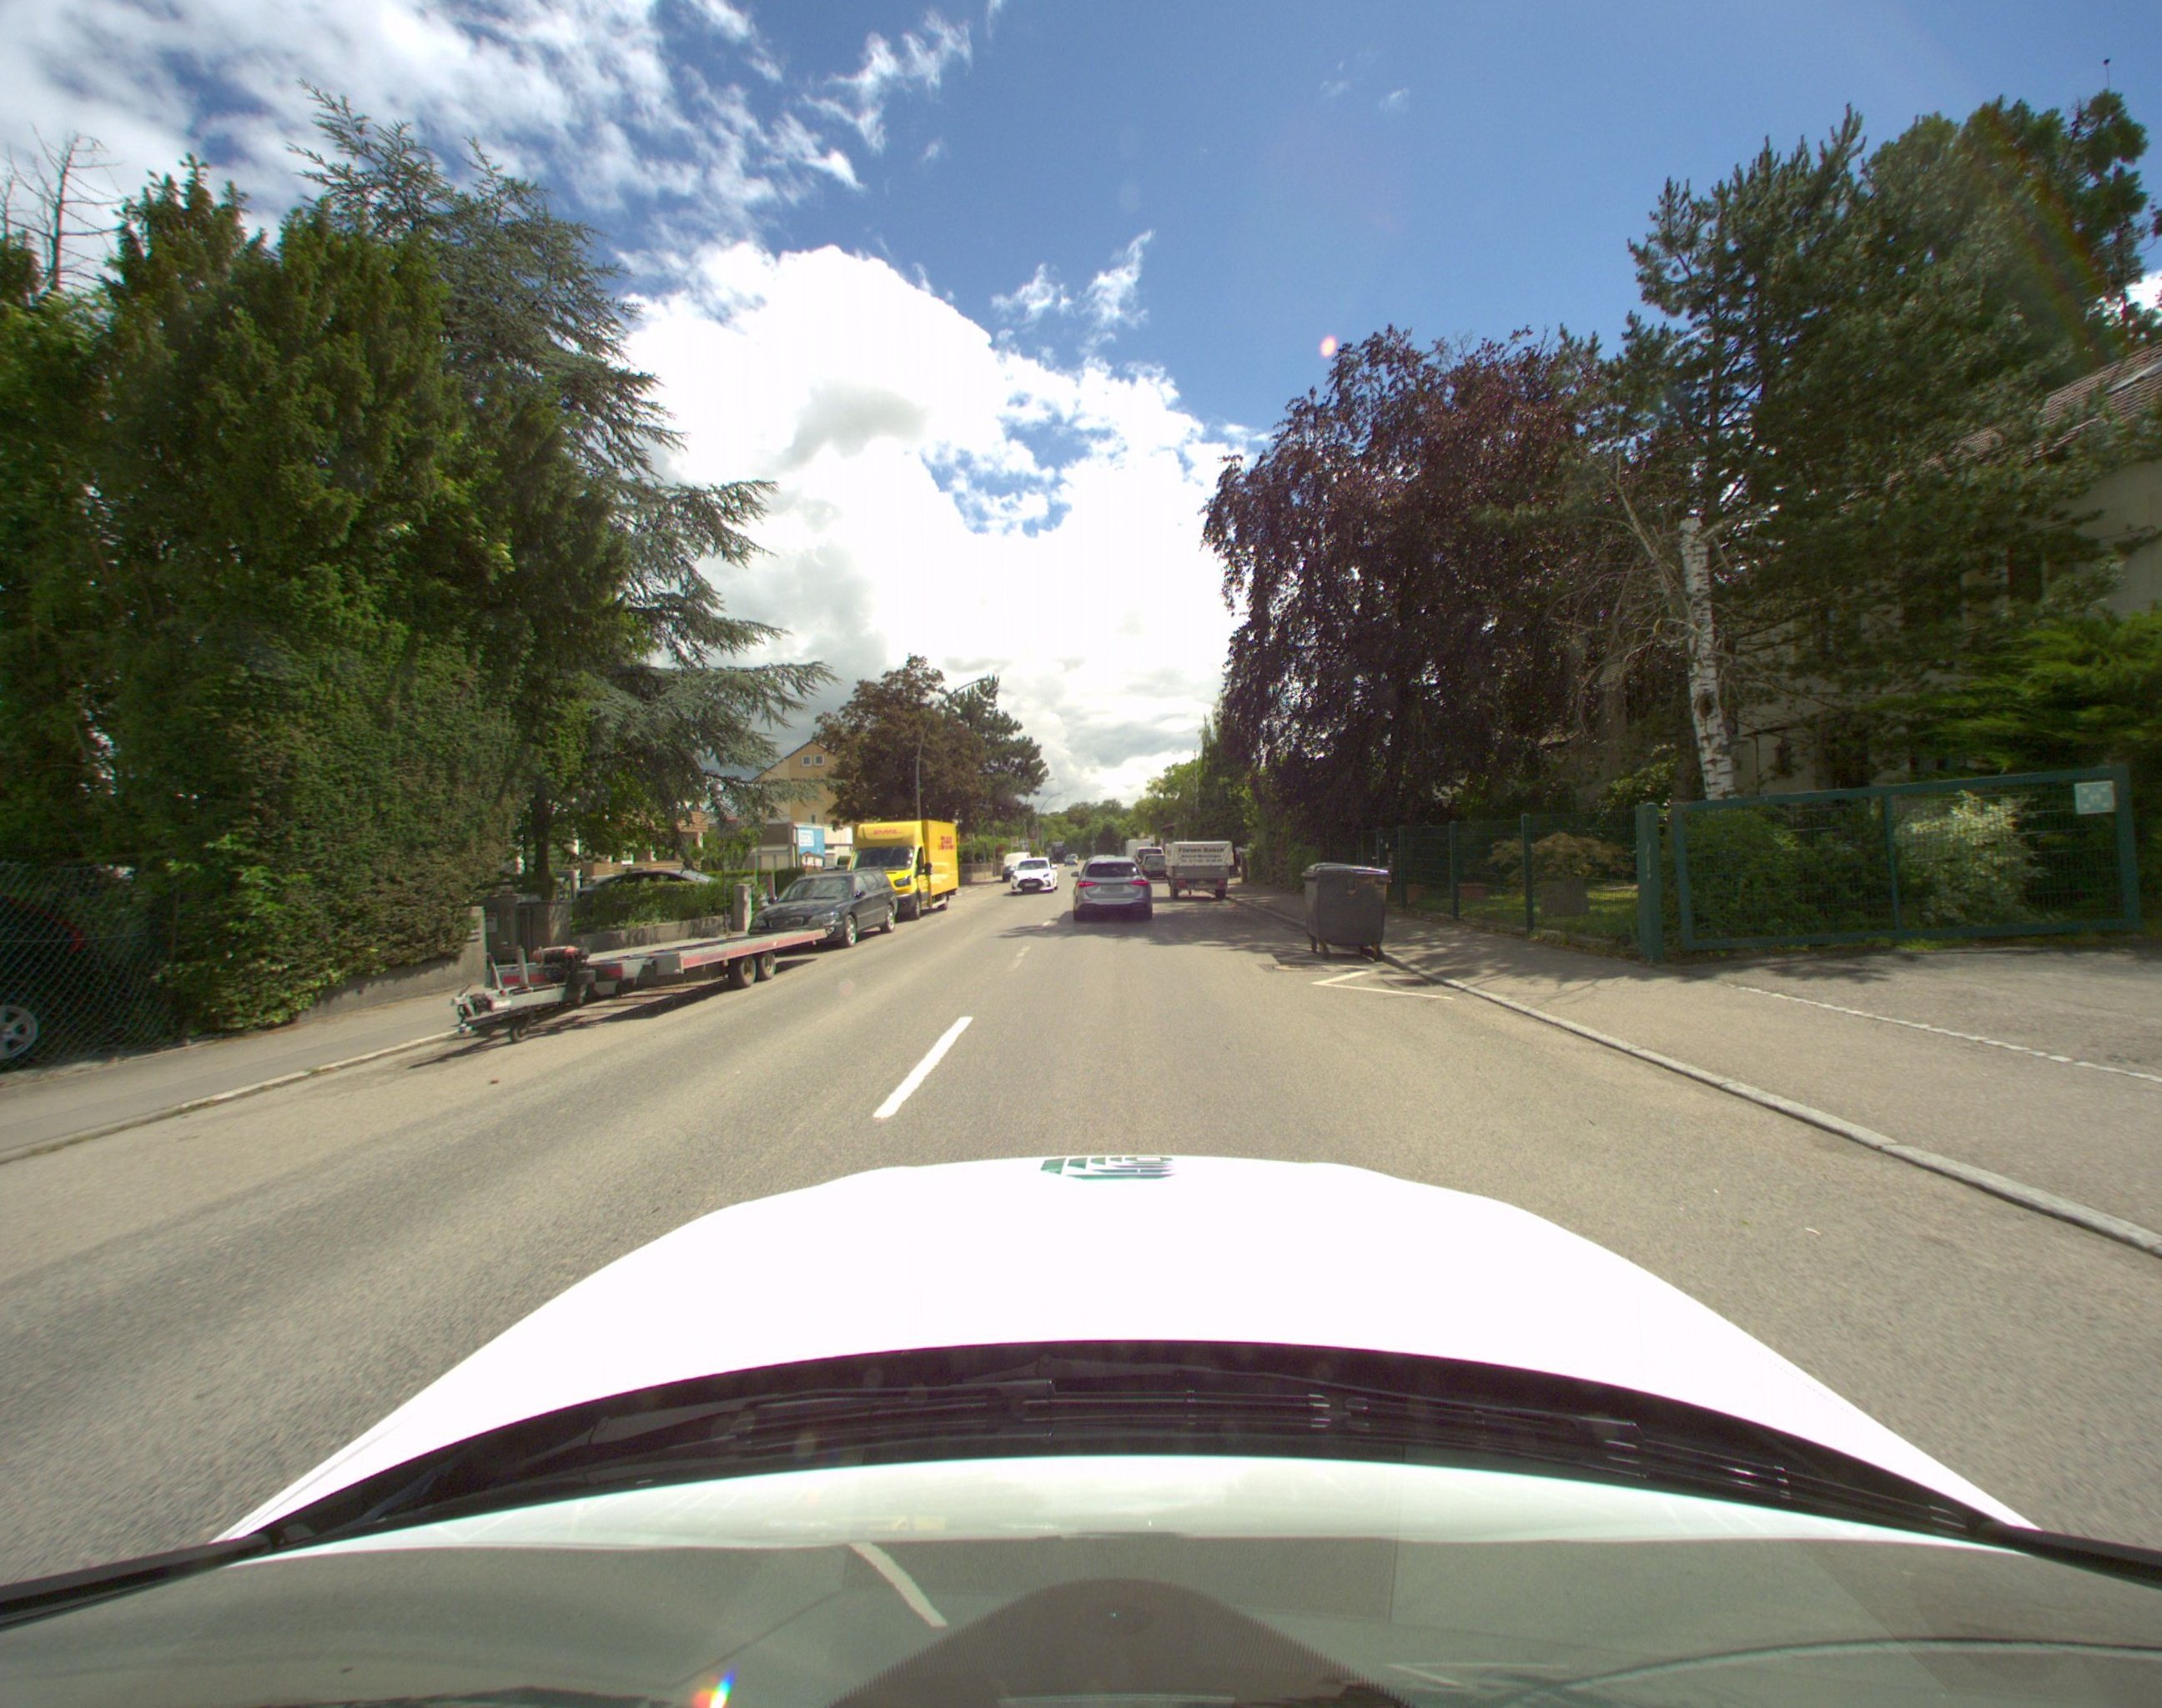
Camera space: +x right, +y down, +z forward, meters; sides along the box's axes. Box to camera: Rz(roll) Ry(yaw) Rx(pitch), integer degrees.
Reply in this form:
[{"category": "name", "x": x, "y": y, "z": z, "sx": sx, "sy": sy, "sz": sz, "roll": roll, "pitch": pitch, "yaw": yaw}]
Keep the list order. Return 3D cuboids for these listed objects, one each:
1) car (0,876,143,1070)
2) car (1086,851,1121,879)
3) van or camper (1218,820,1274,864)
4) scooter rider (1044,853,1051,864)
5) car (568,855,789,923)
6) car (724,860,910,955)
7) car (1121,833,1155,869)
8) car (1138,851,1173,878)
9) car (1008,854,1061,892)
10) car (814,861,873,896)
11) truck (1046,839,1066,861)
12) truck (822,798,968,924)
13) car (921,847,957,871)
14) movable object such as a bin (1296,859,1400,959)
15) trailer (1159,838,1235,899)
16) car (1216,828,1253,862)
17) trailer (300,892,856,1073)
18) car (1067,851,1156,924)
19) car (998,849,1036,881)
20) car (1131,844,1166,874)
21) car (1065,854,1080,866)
[{"category": "car", "x": -10.284, "y": 1.112, "z": 5.730, "sx": 1.801, "sy": 1.635, "sz": 4.634, "roll": -4, "pitch": 0, "yaw": 2}, {"category": "car", "x": 1.284, "y": 0.634, "z": 47.494, "sx": 1.879, "sy": 1.508, "sz": 4.000, "roll": -2, "pitch": 0, "yaw": 0}, {"category": "van or camper", "x": 12.580, "y": -0.889, "z": 62.678, "sx": 2.871, "sy": 3.060, "sz": 6.913, "roll": -3, "pitch": 0, "yaw": 0}, {"category": "scooter rider", "x": -4.993, "y": 0.638, "z": 120.797, "sx": 0.875, "sy": 1.589, "sz": 0.796, "roll": -2, "pitch": 0, "yaw": 1}, {"category": "car", "x": -10.910, "y": 0.923, "z": 22.329, "sx": 4.992, "sy": 1.552, "sz": 1.972, "roll": -2, "pitch": 0, "yaw": -1}, {"category": "car", "x": -5.199, "y": 0.965, "z": 16.864, "sx": 1.986, "sy": 1.453, "sz": 4.814, "roll": -6, "pitch": 0, "yaw": 2}, {"category": "car", "x": 4.593, "y": -0.255, "z": 66.103, "sx": 2.207, "sy": 2.689, "sz": 6.658, "roll": -3, "pitch": 0, "yaw": 0}, {"category": "car", "x": 4.305, "y": 0.571, "z": 47.624, "sx": 1.748, "sy": 1.450, "sz": 4.996, "roll": 0, "pitch": 0, "yaw": 2}, {"category": "car", "x": -1.923, "y": 0.771, "z": 34.571, "sx": 1.976, "sy": 1.420, "sz": 3.999, "roll": -3, "pitch": 0, "yaw": -1}, {"category": "car", "x": -11.803, "y": 1.201, "z": 40.713, "sx": 1.762, "sy": 1.543, "sz": 4.084, "roll": -3, "pitch": 0, "yaw": -2}, {"category": "truck", "x": -4.698, "y": -0.668, "z": 152.917, "sx": 2.430, "sy": 4.131, "sz": 9.116, "roll": 0, "pitch": -1, "yaw": -11}, {"category": "truck", "x": -5.261, "y": 0.174, "z": 24.574, "sx": 2.316, "sy": 3.003, "sz": 7.818, "roll": -5, "pitch": 0, "yaw": 0}, {"category": "car", "x": -16.041, "y": 0.519, "z": 92.622, "sx": 2.401, "sy": 2.495, "sz": 6.143, "roll": -4, "pitch": 0, "yaw": 5}, {"category": "movable object such as a bin", "x": 3.810, "y": 0.753, "z": 11.769, "sx": 1.108, "sy": 1.291, "sz": 1.359, "roll": -3, "pitch": 0, "yaw": 6}, {"category": "trailer", "x": 3.762, "y": 0.430, "z": 27.137, "sx": 1.986, "sy": 1.823, "sz": 4.767, "roll": -1, "pitch": 0, "yaw": 2}, {"category": "car", "x": 12.881, "y": -0.773, "z": 68.700, "sx": 2.011, "sy": 2.681, "sz": 5.497, "roll": -2, "pitch": 1, "yaw": 0}, {"category": "trailer", "x": -5.248, "y": 1.252, "z": 10.547, "sx": 2.310, "sy": 0.990, "sz": 7.462, "roll": -4, "pitch": 0, "yaw": 2}, {"category": "car", "x": 0.734, "y": 0.726, "z": 19.755, "sx": 1.878, "sy": 1.508, "sz": 4.002, "roll": -2, "pitch": 0, "yaw": 2}, {"category": "car", "x": -4.175, "y": 0.678, "z": 54.241, "sx": 1.826, "sy": 1.853, "sz": 4.898, "roll": -6, "pitch": 1, "yaw": 2}, {"category": "car", "x": 4.375, "y": 0.297, "z": 53.266, "sx": 1.899, "sy": 1.885, "sz": 5.390, "roll": -1, "pitch": 0, "yaw": 0}, {"category": "car", "x": -1.141, "y": 0.788, "z": 109.820, "sx": 1.894, "sy": 1.517, "sz": 4.319, "roll": -3, "pitch": 0, "yaw": 1}]
